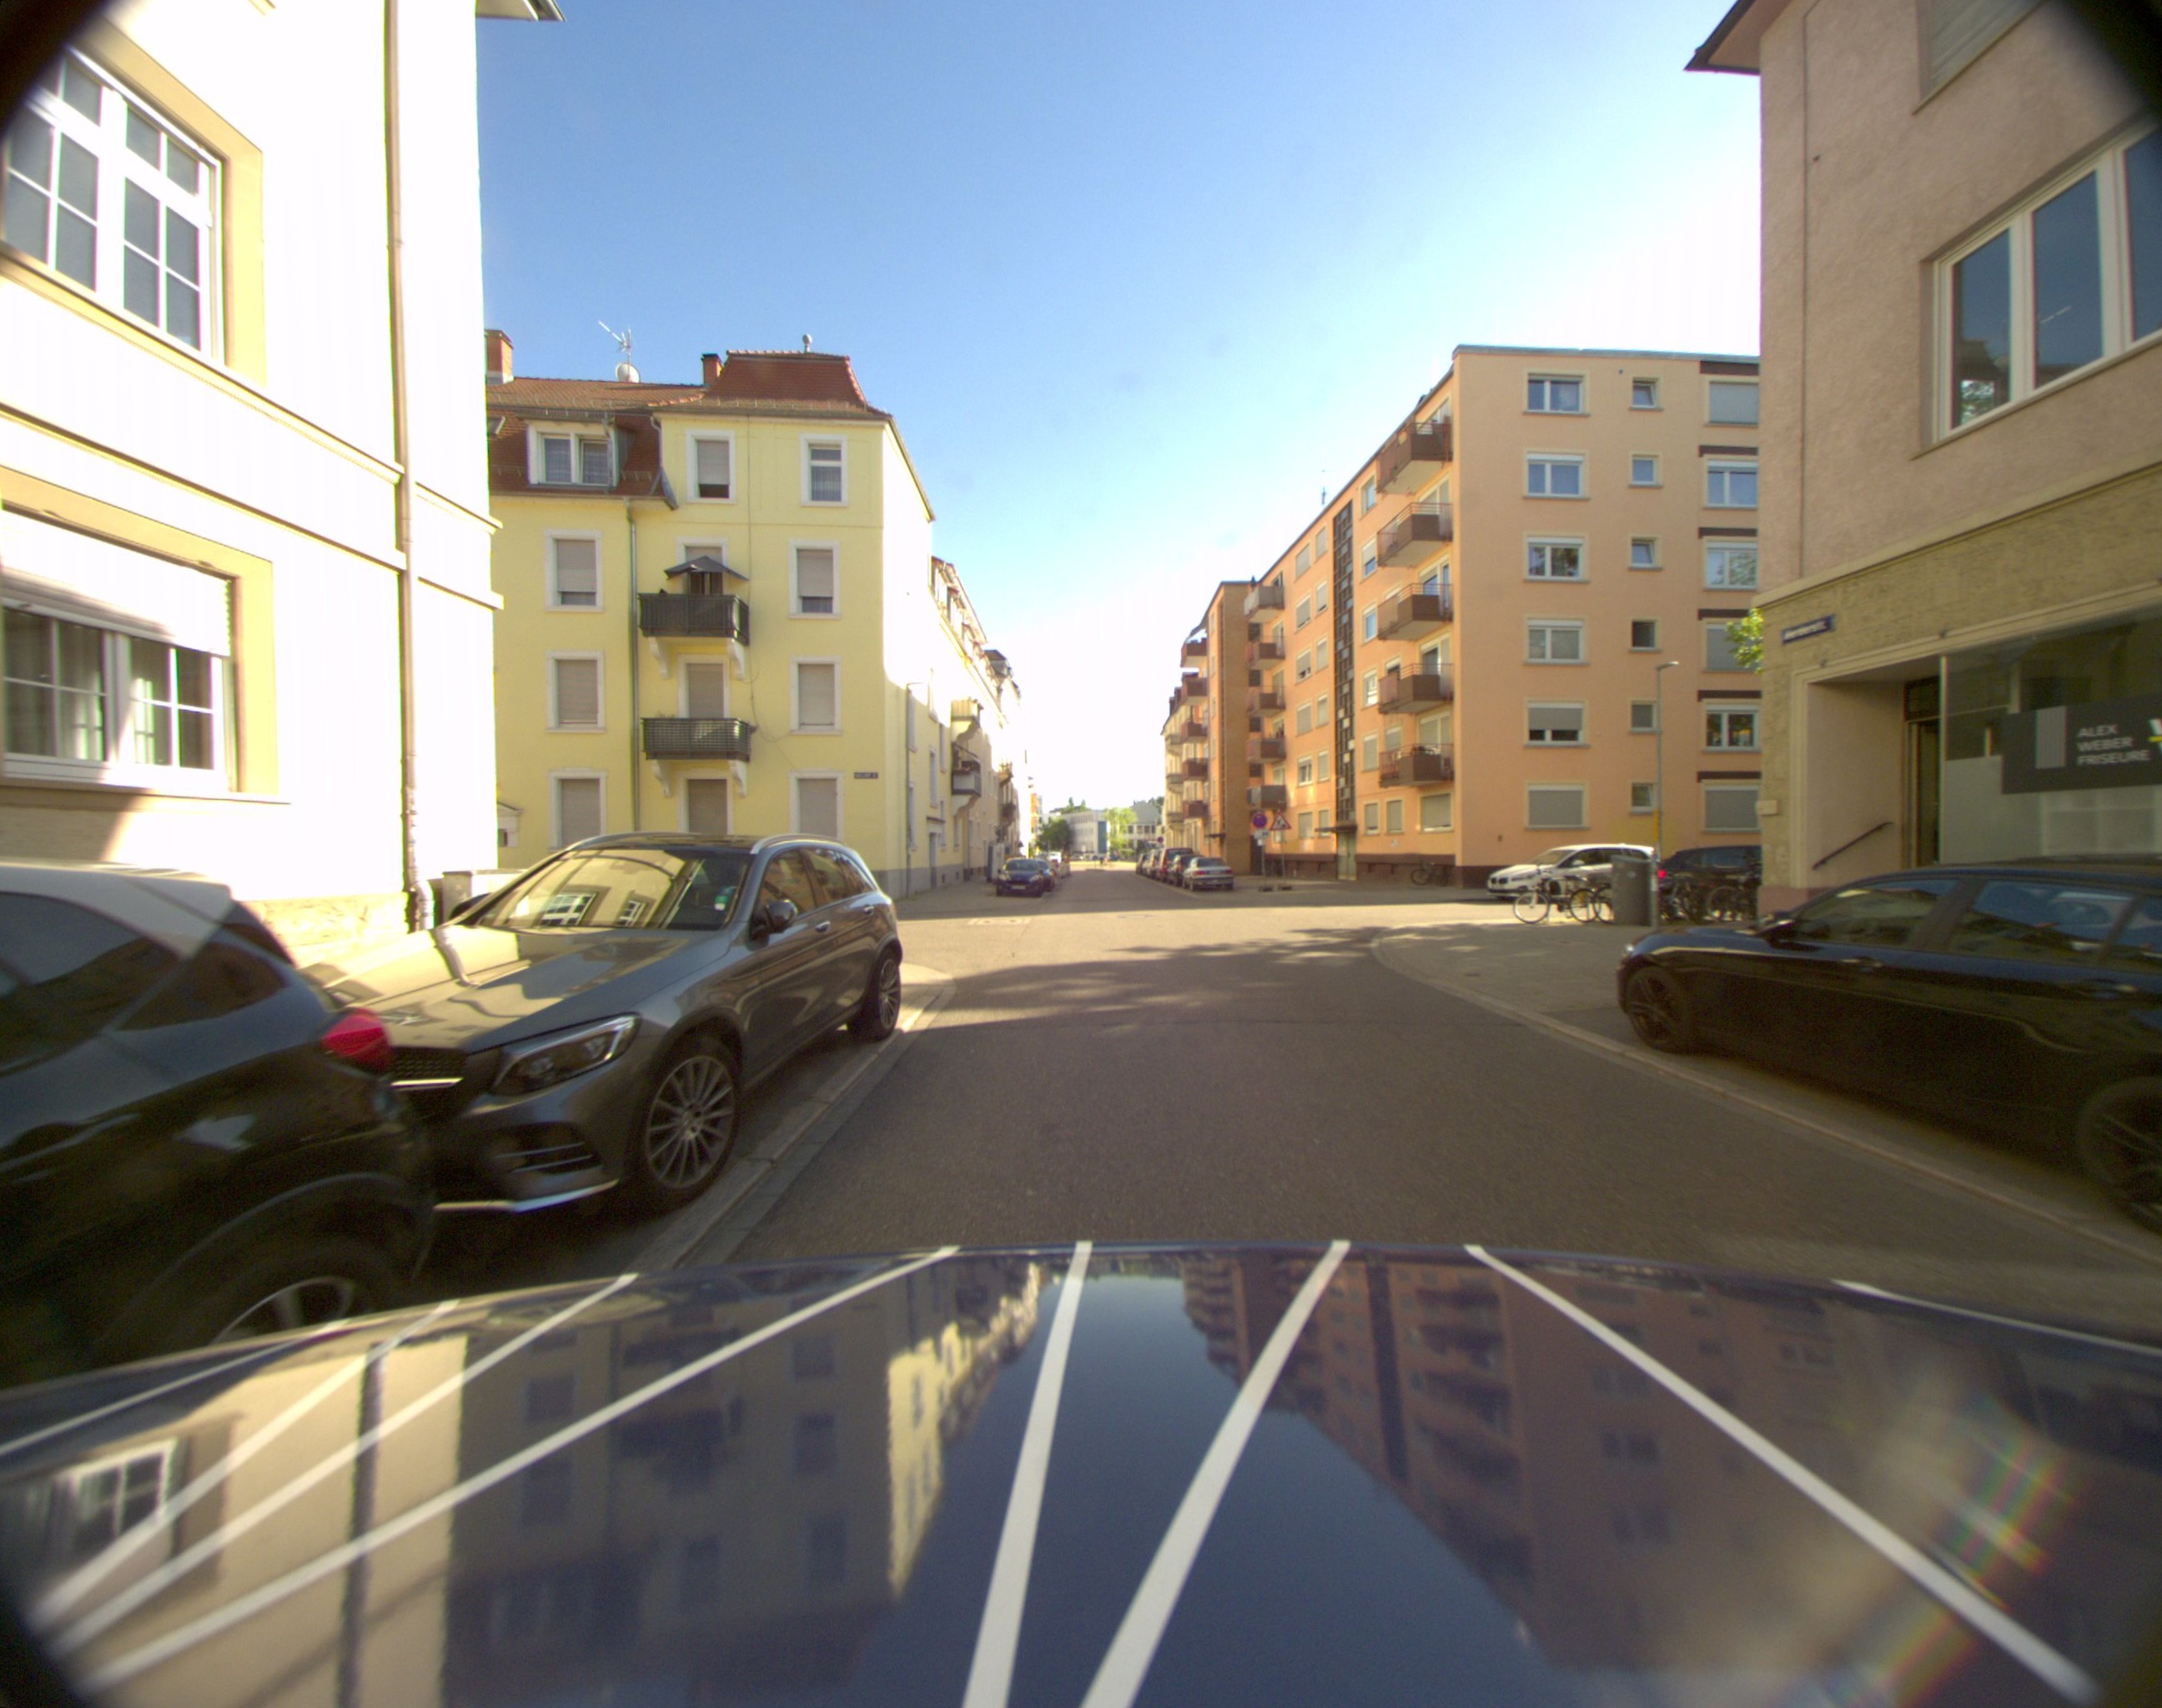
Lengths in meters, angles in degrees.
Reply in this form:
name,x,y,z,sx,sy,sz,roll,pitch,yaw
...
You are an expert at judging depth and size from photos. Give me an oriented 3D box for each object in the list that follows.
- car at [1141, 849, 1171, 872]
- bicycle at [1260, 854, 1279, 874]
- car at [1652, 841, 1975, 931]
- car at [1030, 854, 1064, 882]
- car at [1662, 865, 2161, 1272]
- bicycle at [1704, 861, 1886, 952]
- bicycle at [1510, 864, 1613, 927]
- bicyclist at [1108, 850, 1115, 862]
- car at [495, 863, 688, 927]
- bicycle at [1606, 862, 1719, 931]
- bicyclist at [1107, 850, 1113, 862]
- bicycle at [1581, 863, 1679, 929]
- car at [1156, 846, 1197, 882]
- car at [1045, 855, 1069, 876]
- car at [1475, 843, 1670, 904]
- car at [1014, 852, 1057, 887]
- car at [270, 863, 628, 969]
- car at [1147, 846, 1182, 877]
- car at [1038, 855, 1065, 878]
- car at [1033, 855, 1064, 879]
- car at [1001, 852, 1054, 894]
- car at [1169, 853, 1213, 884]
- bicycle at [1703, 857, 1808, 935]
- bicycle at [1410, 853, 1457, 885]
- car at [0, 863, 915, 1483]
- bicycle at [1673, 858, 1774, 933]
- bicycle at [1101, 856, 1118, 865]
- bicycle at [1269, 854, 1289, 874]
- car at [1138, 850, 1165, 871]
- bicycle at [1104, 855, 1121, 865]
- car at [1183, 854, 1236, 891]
name,x,y,z,sx,sy,sz,roll,pitch,yaw
car,5.405,0.451,54.911,1.822,1.589,3.812,-1,0,1
bicycle,10.743,0.558,43.340,0.494,1.101,1.805,-1,0,-6
car,12.960,0.531,13.662,1.713,1.376,3.989,-1,-1,-40
car,-1.782,0.709,40.523,1.708,1.417,3.721,-1,0,-1
car,4.921,0.835,3.367,1.719,1.378,3.864,-4,0,1
bicycle,9.491,0.681,10.136,1.810,1.129,0.695,-1,1,-2
bicycle,9.263,0.789,14.668,1.664,1.140,0.593,-1,1,-5
bicyclist,3.676,0.247,91.525,0.743,1.388,0.726,-2,1,1
car,-11.626,0.956,18.249,3.509,1.371,1.646,-1,-1,-6
bicycle,10.299,0.741,13.460,1.861,1.140,0.435,-1,1,-10
bicyclist,3.457,0.272,90.577,0.743,1.388,0.726,-2,1,1
bicycle,10.068,0.755,13.933,1.664,1.140,0.435,-1,1,-11
car,5.285,0.515,42.602,1.822,1.867,4.111,-1,0,1
car,-1.785,0.860,57.385,1.708,1.417,3.721,0,1,0
car,13.654,0.505,21.222,4.454,1.551,1.780,-1,0,-7
car,-2.004,0.638,34.176,1.708,1.417,3.721,0,1,0
car,-9.988,0.934,12.308,4.176,1.463,1.692,-1,0,-6
car,5.308,0.468,48.538,1.822,1.867,4.111,-1,0,1
car,-1.982,0.833,52.214,1.708,1.417,3.721,0,1,0
car,-1.984,0.778,47.550,1.708,1.417,3.722,-1,0,0
car,-1.960,0.679,28.710,1.708,1.417,3.721,0,1,0
car,5.289,0.672,36.837,1.678,1.414,3.286,-1,0,1
bicycle,10.895,0.662,12.279,1.501,1.207,0.435,-1,1,-10
bicycle,12.686,0.526,27.393,0.688,1.101,1.805,-1,0,-6
car,-2.430,0.926,4.343,1.791,1.655,4.435,-1,0,2
bicycle,10.786,0.681,12.755,1.501,1.207,0.435,-1,1,-10
bicycle,3.404,0.752,90.609,2.020,1.041,0.730,-2,1,0
bicycle,11.288,0.539,43.379,0.494,1.101,1.805,-1,0,-6
car,5.481,0.465,59.434,1.822,1.589,3.812,-1,0,1
bicycle,3.793,0.722,91.527,2.020,1.041,0.730,-2,1,0
car,5.338,0.723,31.924,1.678,1.414,3.500,-1,0,1
